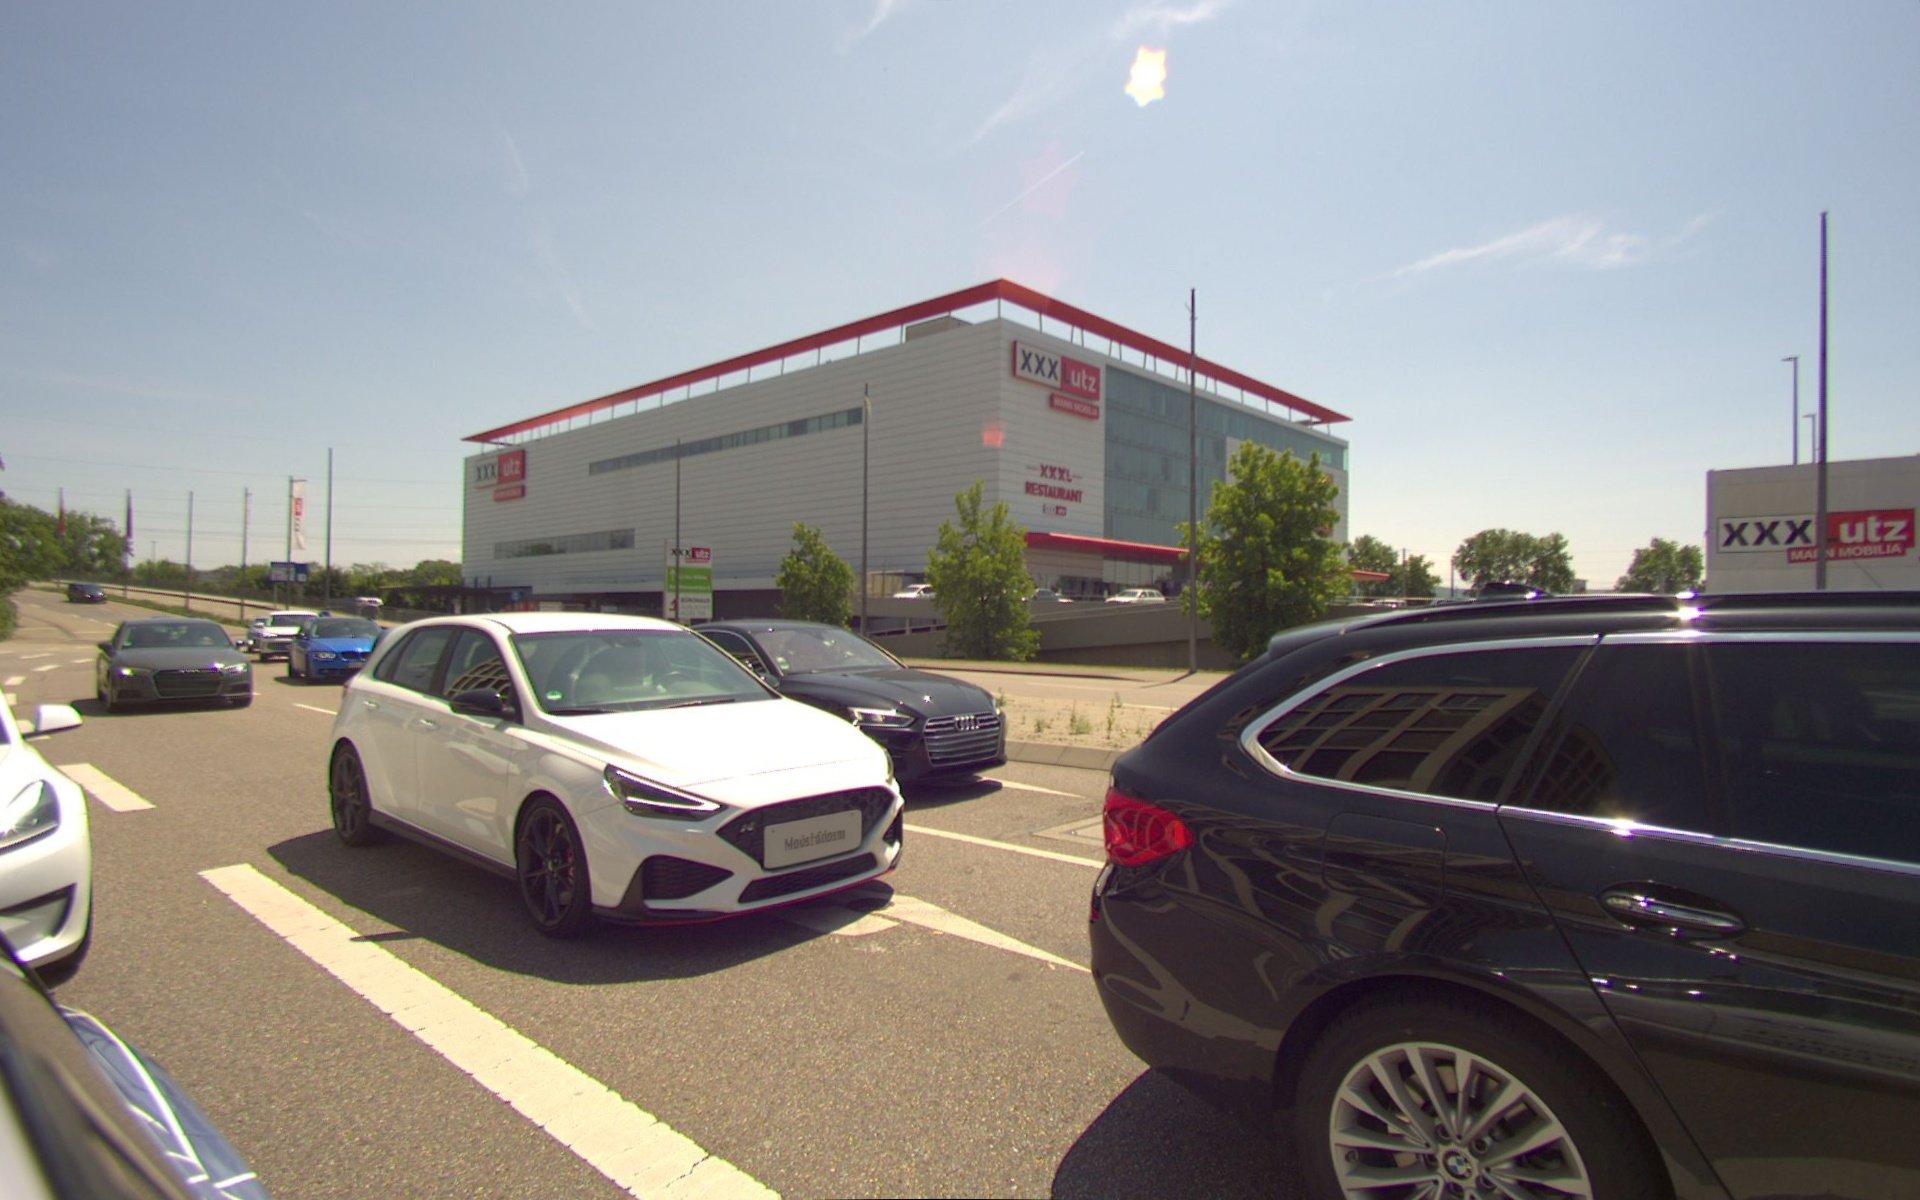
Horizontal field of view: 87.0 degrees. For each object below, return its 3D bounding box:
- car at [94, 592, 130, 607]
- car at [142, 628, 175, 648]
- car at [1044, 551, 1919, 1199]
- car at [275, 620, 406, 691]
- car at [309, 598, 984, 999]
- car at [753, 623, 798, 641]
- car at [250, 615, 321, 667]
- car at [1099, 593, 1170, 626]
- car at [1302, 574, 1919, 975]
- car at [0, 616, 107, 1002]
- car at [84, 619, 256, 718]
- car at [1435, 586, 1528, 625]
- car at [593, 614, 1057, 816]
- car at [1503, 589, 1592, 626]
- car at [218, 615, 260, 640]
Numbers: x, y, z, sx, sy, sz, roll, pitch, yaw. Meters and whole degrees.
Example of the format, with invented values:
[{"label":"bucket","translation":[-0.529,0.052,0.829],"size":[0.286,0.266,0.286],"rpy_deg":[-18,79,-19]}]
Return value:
[{"label":"car","translation":[-86.436,-0.081,103.120],"size":[4.363,1.364,1.975],"rpy_deg":[3,2,38]},{"label":"car","translation":[-48.018,2.287,60.648],"size":[1.452,1.198,3.359],"rpy_deg":[2,-3,-39]},{"label":"car","translation":[2.541,0.657,1.731],"size":[4.620,1.477,1.781],"rpy_deg":[-1,-1,40]},{"label":"car","translation":[-13.947,1.179,22.658],"size":[1.775,1.424,4.412],"rpy_deg":[2,-2,-41]},{"label":"car","translation":[-2.036,0.769,5.752],"size":[4.228,1.461,1.712],"rpy_deg":[-2,-1,41]},{"label":"car","translation":[-16.971,2.977,93.367],"size":[1.911,1.632,3.698],"rpy_deg":[0,-2,41]},{"label":"car","translation":[-21.948,1.275,32.872],"size":[1.653,1.587,4.066],"rpy_deg":[1,-1,-37]},{"label":"car","translation":[9.940,0.567,57.563],"size":[2.001,1.781,4.140],"rpy_deg":[0,-2,44]},{"label":"car","translation":[3.871,0.664,4.699],"size":[3.991,1.505,1.782],"rpy_deg":[-1,-1,36]},{"label":"car","translation":[-5.679,0.820,4.693],"size":[4.401,1.436,1.857],"rpy_deg":[-1,-1,39]},{"label":"car","translation":[-12.957,1.015,16.492],"size":[1.776,1.388,4.410],"rpy_deg":[2,-2,-43]},{"label":"car","translation":[27.218,0.311,52.897],"size":[3.998,1.946,1.973],"rpy_deg":[-1,-2,41]},{"label":"car","translation":[-1.448,0.861,9.240],"size":[4.533,1.401,1.729],"rpy_deg":[-2,-2,43]},{"label":"car","translation":[32.427,0.436,55.928],"size":[3.996,1.923,1.974],"rpy_deg":[-1,-2,39]},{"label":"car","translation":[-50.605,1.930,71.046],"size":[1.811,1.674,4.003],"rpy_deg":[2,-2,-44]}]
